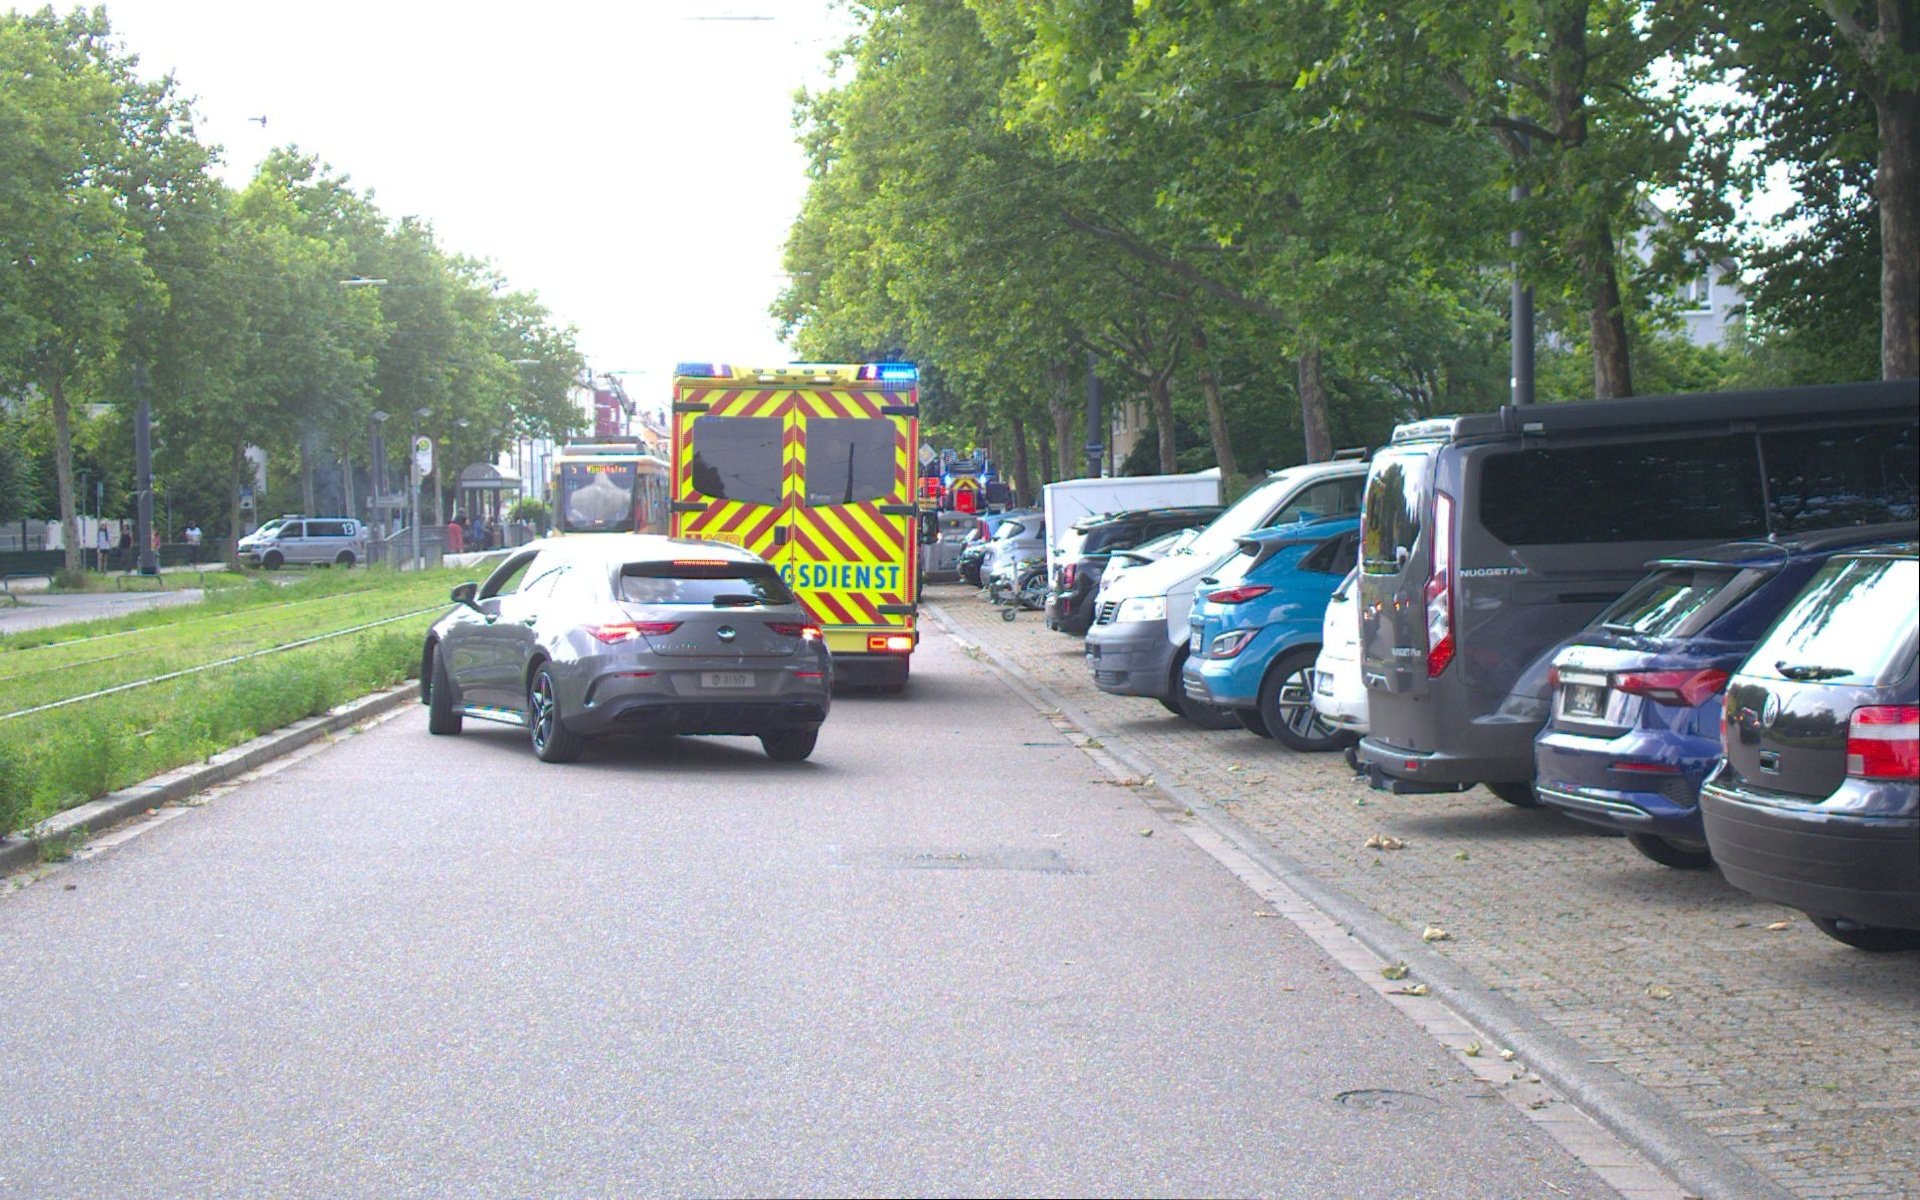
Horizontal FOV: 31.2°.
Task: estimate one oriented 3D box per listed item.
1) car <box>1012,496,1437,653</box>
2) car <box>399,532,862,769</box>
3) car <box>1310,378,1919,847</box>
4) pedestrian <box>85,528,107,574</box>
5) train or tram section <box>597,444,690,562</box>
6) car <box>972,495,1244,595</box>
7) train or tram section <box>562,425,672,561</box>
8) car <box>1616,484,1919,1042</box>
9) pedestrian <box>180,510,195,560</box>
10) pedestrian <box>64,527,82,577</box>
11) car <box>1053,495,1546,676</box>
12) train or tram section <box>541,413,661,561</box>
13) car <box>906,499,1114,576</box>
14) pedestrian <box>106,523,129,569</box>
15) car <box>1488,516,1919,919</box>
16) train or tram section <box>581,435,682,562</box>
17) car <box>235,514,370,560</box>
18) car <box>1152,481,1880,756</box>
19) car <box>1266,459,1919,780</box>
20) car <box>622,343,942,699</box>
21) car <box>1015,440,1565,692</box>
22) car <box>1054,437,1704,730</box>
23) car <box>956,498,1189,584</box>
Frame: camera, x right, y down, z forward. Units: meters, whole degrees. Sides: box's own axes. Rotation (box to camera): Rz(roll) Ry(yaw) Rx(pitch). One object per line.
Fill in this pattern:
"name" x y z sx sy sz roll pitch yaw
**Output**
"car" 2.978 -0.310 39.283 4.545 1.603 1.856 -2 1 -6
"car" -2.317 0.268 22.995 1.760 1.381 4.469 1 1 -24
"car" 4.165 0.005 17.095 4.545 2.116 1.856 -2 1 -2
"pedestrian" -26.276 -1.491 104.542 0.422 1.409 0.467 -1 1 23
"train or tram section" -10.167 -3.075 111.114 2.511 3.572 7.446 -2 1 -2
"car" 2.600 -0.984 60.835 4.545 1.603 1.856 -2 1 -6
"train or tram section" -9.533 -2.915 96.237 2.511 3.572 7.446 -2 1 -2
"car" 4.352 0.386 11.140 3.964 1.600 1.757 -2 1 -12
"pedestrian" -28.574 -2.403 127.163 0.466 1.822 0.423 -1 1 -4
"pedestrian" -26.479 -1.432 102.659 0.421 1.468 0.467 -1 1 -7
"car" 3.323 -0.165 34.135 4.545 1.603 1.856 -2 1 -6
"train or tram section" -9.205 -2.835 88.811 2.511 3.572 7.446 -2 1 -2
"car" 1.125 -1.448 78.883 4.545 1.603 1.856 -2 1 -6
"pedestrian" -28.147 -1.806 114.840 0.632 1.545 0.622 -1 1 -8
"car" 4.311 0.390 13.994 3.965 1.489 1.756 -2 1 -2
"train or tram section" -9.854 -2.995 103.676 2.511 3.572 7.446 -2 1 -2
"car" -24.660 -2.376 129.014 4.615 1.627 1.882 -2 2 -41
"car" 3.738 0.095 23.541 4.545 1.654 1.856 -2 1 -6
"car" 4.282 0.075 21.021 4.545 1.760 1.856 -2 1 -2
"car" -1.557 -0.735 32.538 2.641 2.956 6.300 2 1 -1
"car" 2.888 -0.321 30.645 4.545 2.036 1.856 -2 1 -6
"car" 3.111 -0.149 26.057 4.545 1.994 1.856 -2 1 -6
"car" 2.288 -1.216 70.680 4.545 1.603 1.856 -2 1 -6
